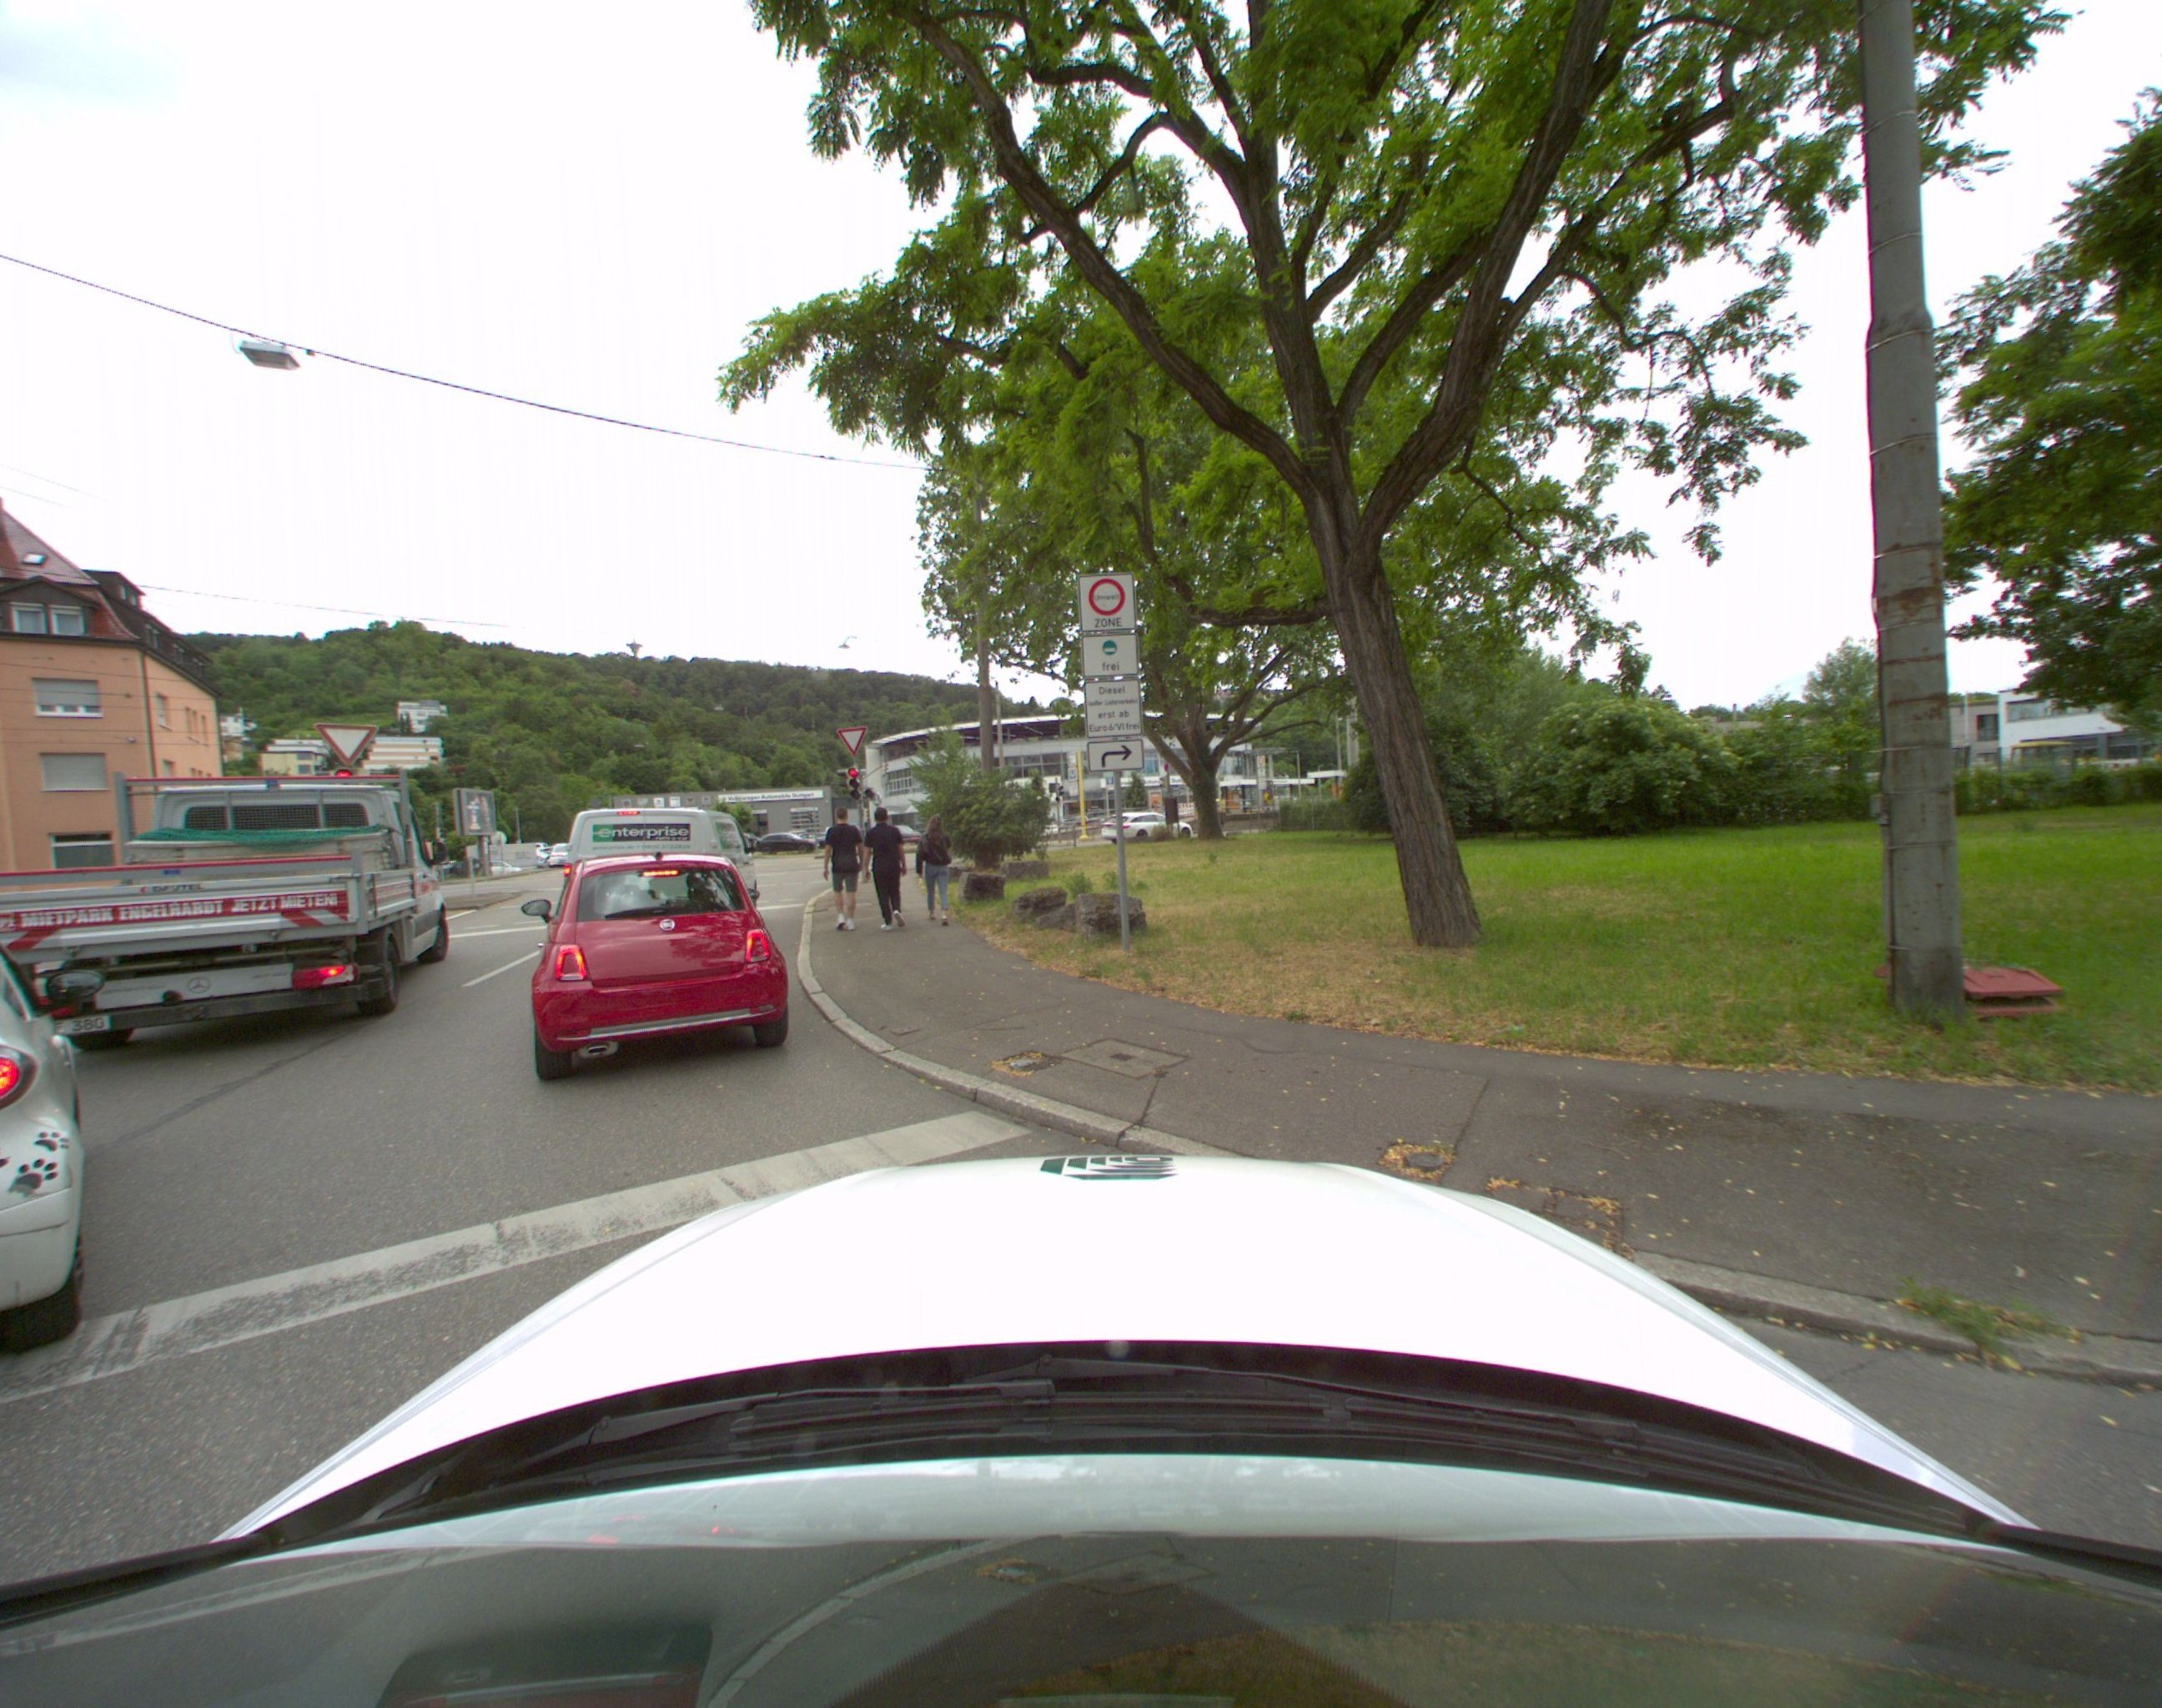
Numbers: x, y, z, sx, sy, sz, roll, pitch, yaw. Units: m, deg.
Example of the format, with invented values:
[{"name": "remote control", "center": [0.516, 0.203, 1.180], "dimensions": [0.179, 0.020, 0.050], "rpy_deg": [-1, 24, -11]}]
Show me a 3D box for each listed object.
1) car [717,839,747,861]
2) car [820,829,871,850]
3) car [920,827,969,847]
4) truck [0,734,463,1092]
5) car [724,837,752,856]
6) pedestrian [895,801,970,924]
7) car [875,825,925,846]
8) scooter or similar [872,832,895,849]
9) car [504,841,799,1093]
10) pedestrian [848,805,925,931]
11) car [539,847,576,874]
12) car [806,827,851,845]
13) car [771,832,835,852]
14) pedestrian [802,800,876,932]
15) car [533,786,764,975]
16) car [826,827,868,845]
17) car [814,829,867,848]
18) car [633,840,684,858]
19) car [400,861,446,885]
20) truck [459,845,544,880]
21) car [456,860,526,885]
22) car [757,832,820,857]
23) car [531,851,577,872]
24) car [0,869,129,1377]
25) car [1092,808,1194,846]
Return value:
[{"name": "car", "center": [-31.762, -0.406, 74.255], "dimensions": [1.999, 1.815, 3.977], "rpy_deg": [-4, 3, -18]}, {"name": "car", "center": [-23.921, -1.457, 82.646], "dimensions": [4.808, 1.802, 1.766], "rpy_deg": [-4, 2, -17]}, {"name": "car", "center": [-11.567, -1.438, 68.847], "dimensions": [3.970, 1.500, 1.787], "rpy_deg": [-1, 3, 40]}, {"name": "truck", "center": [-8.309, 0.342, 8.369], "dimensions": [2.439, 2.397, 5.967], "rpy_deg": [-5, 3, -32]}, {"name": "car", "center": [-31.284, -0.699, 74.438], "dimensions": [1.774, 1.533, 4.068], "rpy_deg": [-4, 2, -16]}, {"name": "pedestrian", "center": [-2.219, 0.114, 12.158], "dimensions": [0.699, 1.739, 0.779], "rpy_deg": [-5, 3, -38]}, {"name": "car", "center": [-14.612, -1.509, 65.745], "dimensions": [3.831, 1.500, 1.787], "rpy_deg": [-2, 3, 38]}, {"name": "scooter or similar", "center": [-15.235, -1.063, 62.841], "dimensions": [1.669, 1.177, 0.465], "rpy_deg": [-4, 2, -12]}, {"name": "car", "center": [-3.604, 0.675, 6.842], "dimensions": [1.649, 1.456, 3.398], "rpy_deg": [-4, 2, -30]}, {"name": "pedestrian", "center": [-2.792, 0.186, 11.693], "dimensions": [0.699, 1.714, 0.779], "rpy_deg": [-5, 3, -38]}, {"name": "car", "center": [-38.962, 0.440, 60.705], "dimensions": [1.871, 1.817, 4.362], "rpy_deg": [-5, 3, -28]}, {"name": "car", "center": [-28.946, -2.104, 93.621], "dimensions": [4.808, 1.802, 1.766], "rpy_deg": [-4, 2, -17]}, {"name": "car", "center": [-23.258, -0.991, 68.308], "dimensions": [4.665, 1.327, 1.772], "rpy_deg": [-4, 2, -6]}, {"name": "pedestrian", "center": [-3.600, 0.166, 12.103], "dimensions": [0.699, 1.856, 0.779], "rpy_deg": [-5, 3, -38]}, {"name": "car", "center": [-6.011, 0.235, 12.026], "dimensions": [1.995, 2.106, 4.734], "rpy_deg": [-5, 3, -17]}, {"name": "car", "center": [-28.385, -2.210, 98.790], "dimensions": [4.808, 1.802, 1.766], "rpy_deg": [-4, 2, -17]}, {"name": "car", "center": [-23.485, -1.493, 79.579], "dimensions": [4.808, 1.533, 1.766], "rpy_deg": [-4, 2, -17]}, {"name": "car", "center": [-42.202, -0.531, 81.405], "dimensions": [4.085, 1.533, 1.767], "rpy_deg": [-4, 2, -15]}, {"name": "car", "center": [-51.598, 1.461, 63.921], "dimensions": [1.786, 1.518, 3.602], "rpy_deg": [-4, 3, -23]}, {"name": "truck", "center": [-46.871, 0.657, 65.960], "dimensions": [1.975, 2.392, 5.233], "rpy_deg": [-1, 3, 43]}, {"name": "car", "center": [-45.657, 1.371, 63.083], "dimensions": [4.235, 1.533, 1.757], "rpy_deg": [-5, 3, -35]}, {"name": "car", "center": [-21.359, -0.718, 59.514], "dimensions": [3.859, 1.500, 1.774], "rpy_deg": [-4, 2, -3]}, {"name": "car", "center": [-42.743, 0.589, 66.015], "dimensions": [4.037, 1.533, 1.787], "rpy_deg": [-2, 3, 38]}, {"name": "car", "center": [-4.805, 0.863, 2.905], "dimensions": [3.386, 1.432, 1.655], "rpy_deg": [-2, 3, 39]}, {"name": "car", "center": [3.021, -1.321, 38.934], "dimensions": [4.922, 1.507, 1.784], "rpy_deg": [-6, 4, -39]}]
